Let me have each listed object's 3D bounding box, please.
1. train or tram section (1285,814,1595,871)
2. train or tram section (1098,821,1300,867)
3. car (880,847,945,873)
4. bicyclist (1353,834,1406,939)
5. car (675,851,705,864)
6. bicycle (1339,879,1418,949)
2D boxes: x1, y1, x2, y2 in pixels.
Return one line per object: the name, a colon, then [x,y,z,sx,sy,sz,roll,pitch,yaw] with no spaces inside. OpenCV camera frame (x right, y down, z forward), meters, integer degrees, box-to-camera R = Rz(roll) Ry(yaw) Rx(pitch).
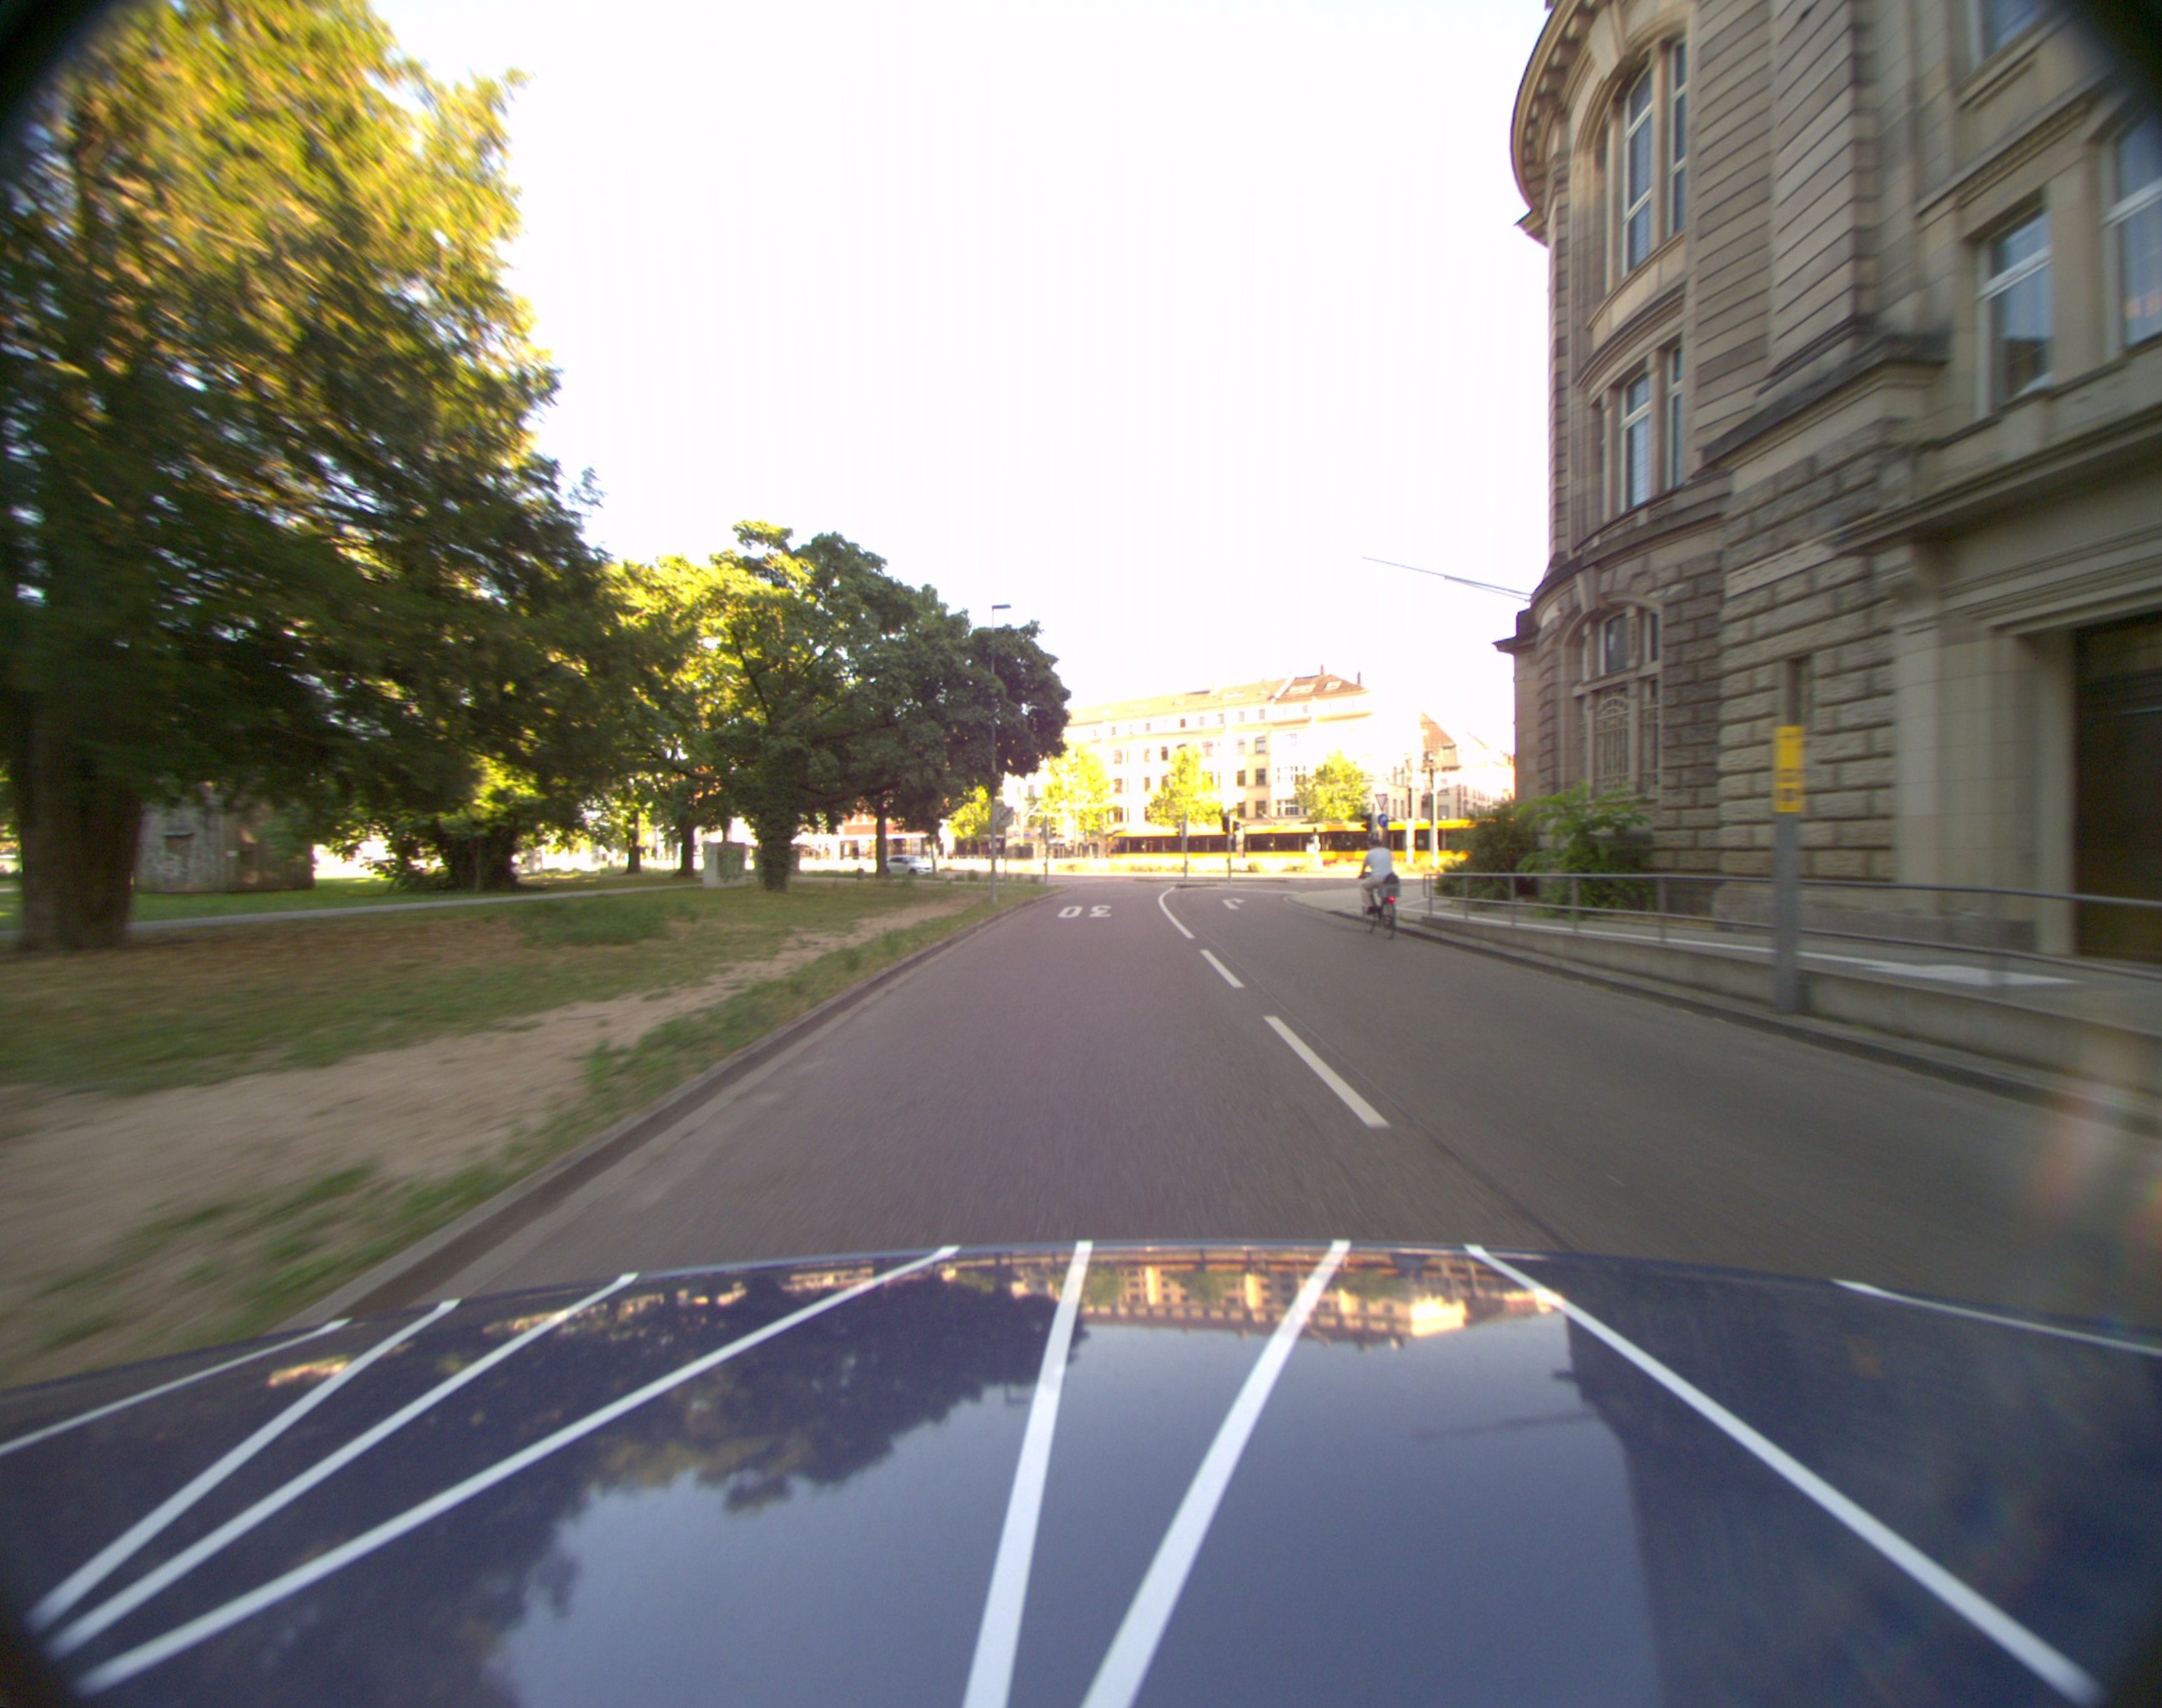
train or tram section: [24.718,-0.766,54.450,19.873,3.538,3.129,0,1,38]
train or tram section: [9.644,-0.788,65.303,17.427,3.538,3.128,0,1,34]
car: [-11.034,0.350,49.692,4.266,1.529,1.838,1,3,38]
bicyclist: [5.242,0.553,13.390,0.646,1.796,0.780,0,1,3]
car: [-60.339,0.501,117.253,4.761,2.002,2.004,0,1,34]
bicycle: [5.247,1.024,13.564,0.664,1.064,2.153,0,1,3]
